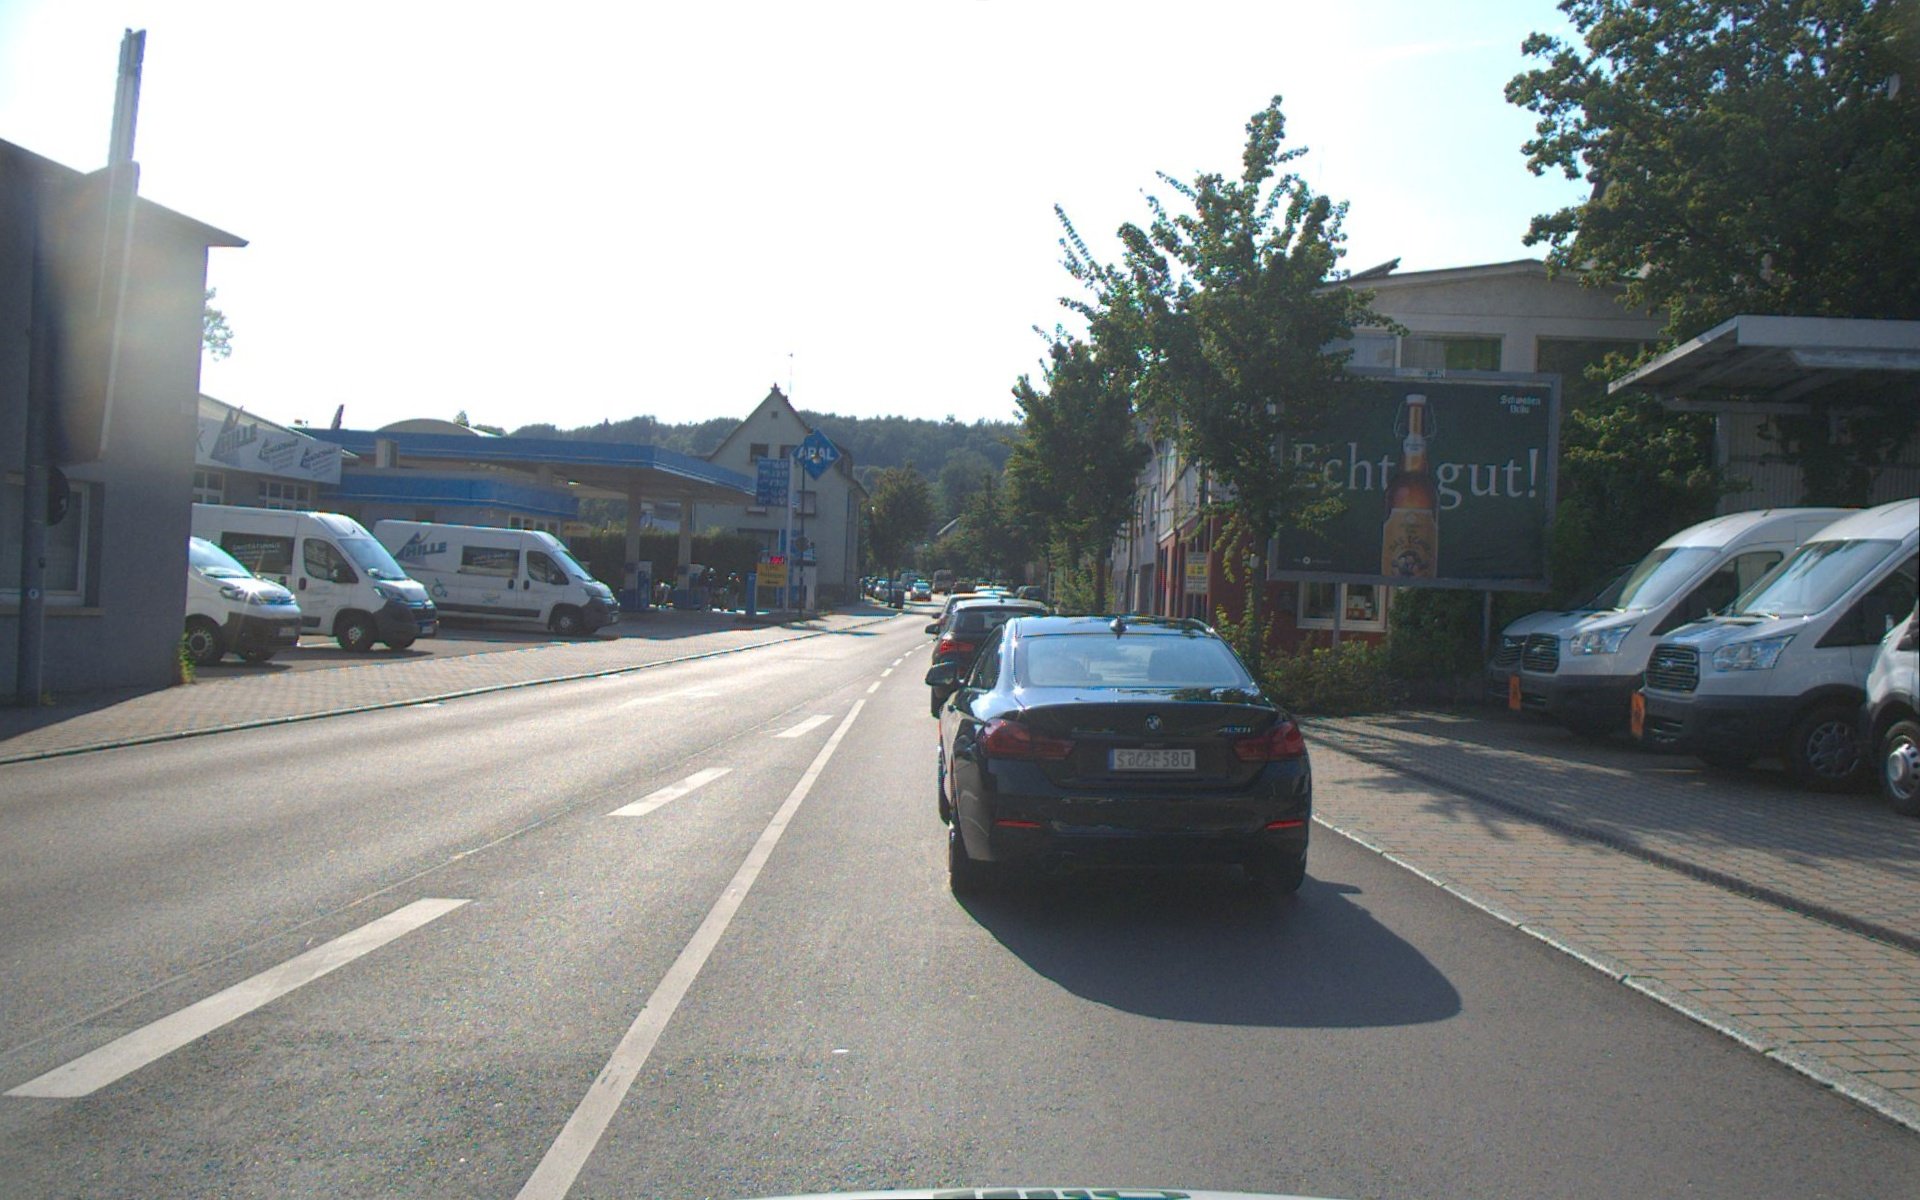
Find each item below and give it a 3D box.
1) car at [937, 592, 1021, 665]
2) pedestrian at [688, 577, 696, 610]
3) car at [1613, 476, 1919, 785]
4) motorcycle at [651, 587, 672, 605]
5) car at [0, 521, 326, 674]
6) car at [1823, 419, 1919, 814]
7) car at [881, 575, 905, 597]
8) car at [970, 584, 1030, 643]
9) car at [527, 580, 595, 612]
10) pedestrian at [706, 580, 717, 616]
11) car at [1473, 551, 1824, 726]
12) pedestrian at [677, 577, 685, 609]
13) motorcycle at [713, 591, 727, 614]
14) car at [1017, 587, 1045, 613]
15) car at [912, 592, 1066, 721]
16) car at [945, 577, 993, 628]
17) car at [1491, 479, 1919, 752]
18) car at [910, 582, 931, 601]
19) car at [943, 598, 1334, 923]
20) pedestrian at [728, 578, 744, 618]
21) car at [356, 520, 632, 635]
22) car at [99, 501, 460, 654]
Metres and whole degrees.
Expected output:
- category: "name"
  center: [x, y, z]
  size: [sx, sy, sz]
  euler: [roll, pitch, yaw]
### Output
- category: "car"
  center: [0.444, 0.581, 36.106]
  size: [1.717, 1.438, 3.423]
  euler: [1, 1, 2]
- category: "pedestrian"
  center: [-11.523, -0.300, 71.051]
  size: [0.257, 1.407, 0.288]
  euler: [1, 0, -3]
- category: "car"
  center: [8.953, 0.286, 14.134]
  size: [5.922, 2.404, 2.043]
  euler: [1, 0, -2]
- category: "motorcycle"
  center: [-12.955, -0.175, 71.740]
  size: [0.449, 0.742, 1.475]
  euler: [1, 1, 8]
- category: "car"
  center: [-12.411, -0.061, 24.962]
  size: [4.872, 2.034, 1.936]
  euler: [3, 0, 3]
- category: "car"
  center: [7.706, 0.161, 9.322]
  size: [2.106, 2.727, 6.602]
  euler: [1, 1, -1]
- category: "car"
  center: [-4.790, -0.987, 118.594]
  size: [1.564, 1.511, 3.474]
  euler: [2, 1, 0]
- category: "car"
  center: [1.231, 0.370, 49.568]
  size: [1.558, 1.628, 3.896]
  euler: [1, 1, 5]
- category: "car"
  center: [-19.242, -0.185, 79.716]
  size: [3.100, 1.452, 1.433]
  euler: [1, 1, -17]
- category: "pedestrian"
  center: [-10.774, -0.085, 71.734]
  size: [0.399, 1.574, 0.432]
  euler: [1, 0, -3]
- category: "car"
  center: [8.208, 0.439, 19.884]
  size: [3.527, 1.927, 1.586]
  euler: [1, 0, -3]
- category: "pedestrian"
  center: [-11.901, -0.299, 70.502]
  size: [0.281, 1.390, 0.262]
  euler: [1, 0, -4]
- category: "motorcycle"
  center: [-10.348, 0.099, 71.286]
  size: [0.356, 0.960, 1.695]
  euler: [1, 1, -1]
- category: "car"
  center: [4.536, -0.016, 106.043]
  size: [1.564, 1.511, 3.474]
  euler: [2, 1, 0]
- category: "car"
  center: [0.457, 0.664, 21.441]
  size: [1.734, 1.481, 3.518]
  euler: [2, 0, 5]
- category: "car"
  center: [0.357, 0.066, 60.975]
  size: [1.569, 1.798, 3.412]
  euler: [1, 1, 3]
- category: "car"
  center: [8.789, 0.173, 17.075]
  size: [5.922, 2.560, 2.043]
  euler: [1, 0, -2]
- category: "car"
  center: [-3.212, -0.699, 135.256]
  size: [1.564, 1.511, 3.474]
  euler: [2, 1, 0]
- category: "car"
  center: [0.783, 0.723, 9.567]
  size: [1.665, 1.393, 4.261]
  euler: [1, 1, -2]
- category: "pedestrian"
  center: [-9.709, -0.093, 71.624]
  size: [0.598, 1.699, 0.442]
  euler: [1, 0, -3]
- category: "car"
  center: [-11.384, -0.545, 40.732]
  size: [6.032, 2.487, 2.250]
  euler: [2, 0, 1]
- category: "car"
  center: [-12.643, -0.427, 30.950]
  size: [5.795, 2.523, 2.195]
  euler: [2, 1, 5]
